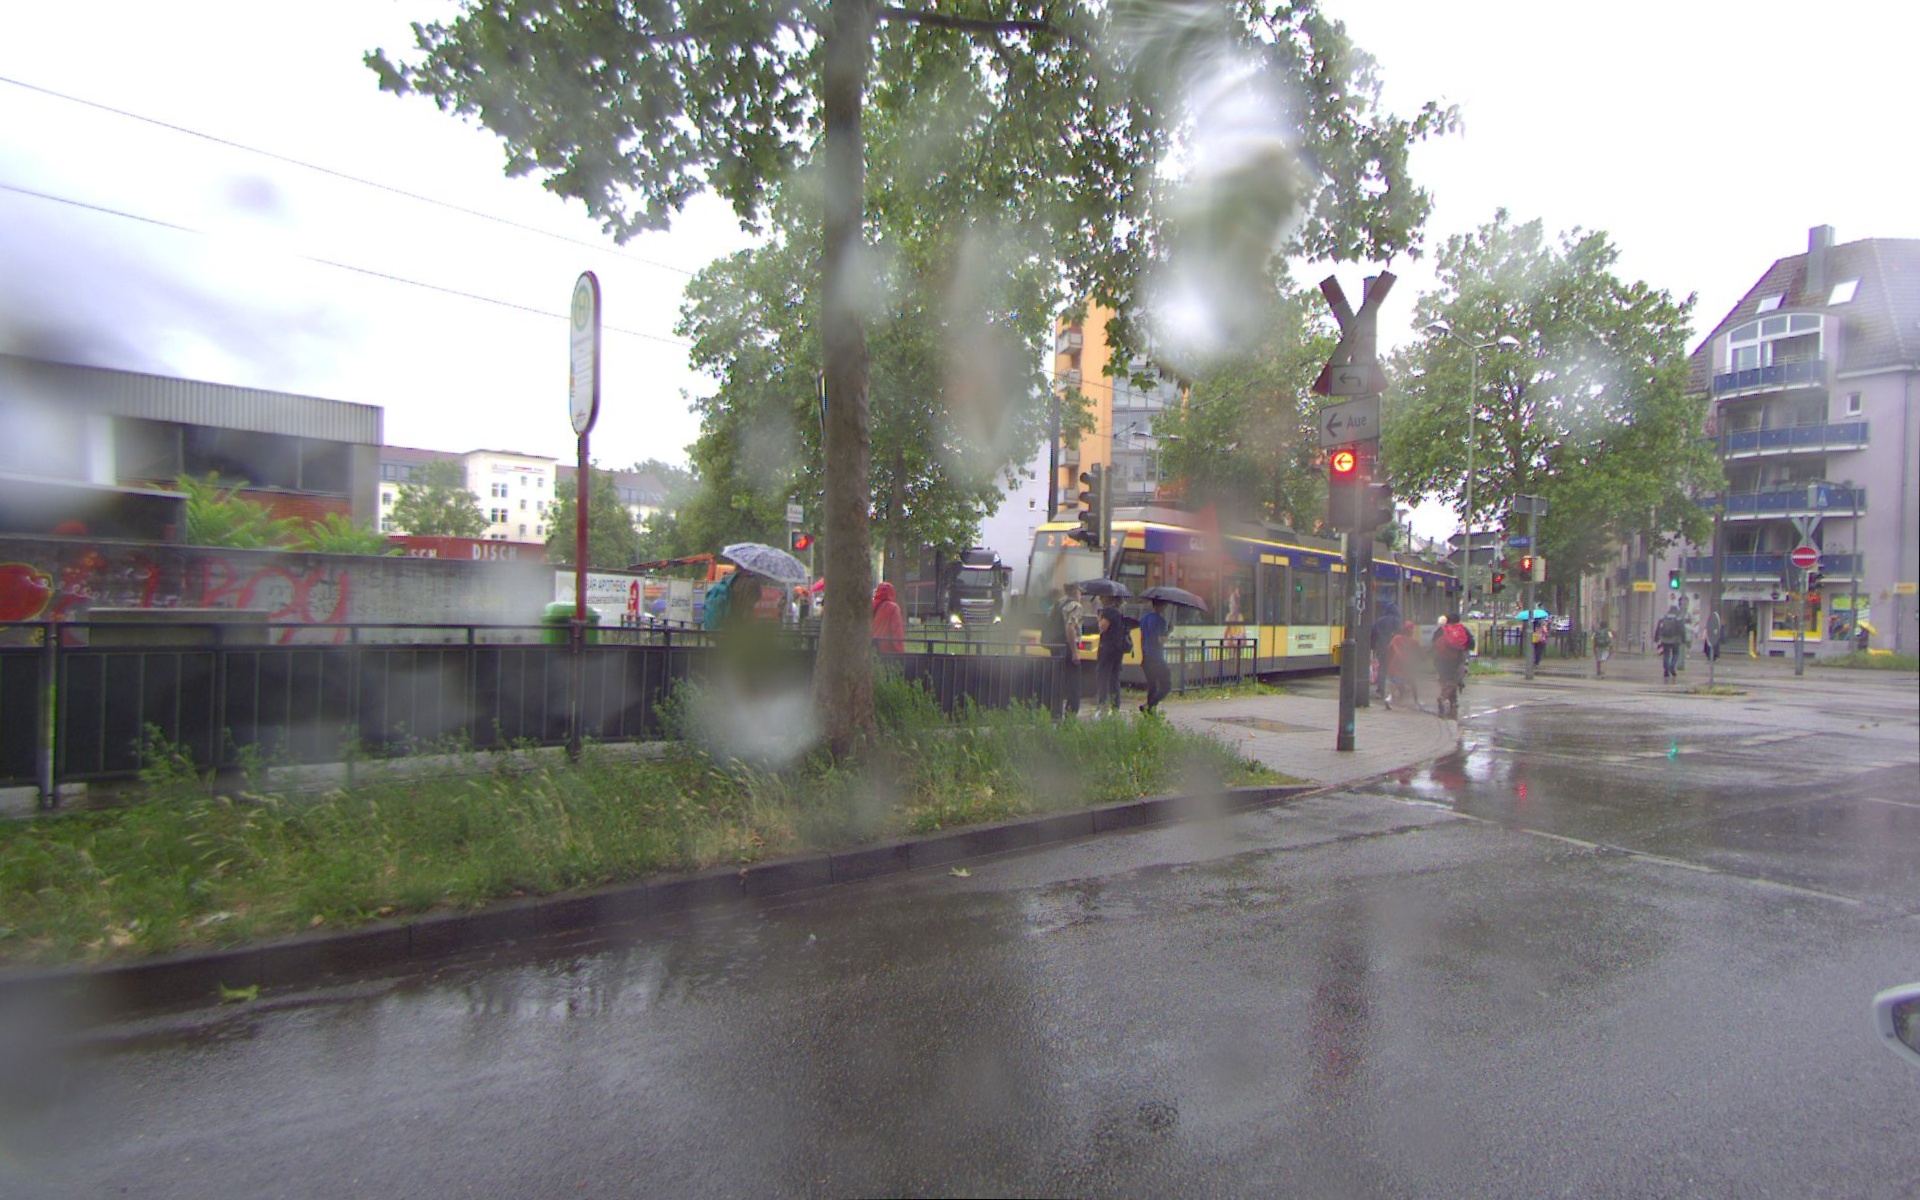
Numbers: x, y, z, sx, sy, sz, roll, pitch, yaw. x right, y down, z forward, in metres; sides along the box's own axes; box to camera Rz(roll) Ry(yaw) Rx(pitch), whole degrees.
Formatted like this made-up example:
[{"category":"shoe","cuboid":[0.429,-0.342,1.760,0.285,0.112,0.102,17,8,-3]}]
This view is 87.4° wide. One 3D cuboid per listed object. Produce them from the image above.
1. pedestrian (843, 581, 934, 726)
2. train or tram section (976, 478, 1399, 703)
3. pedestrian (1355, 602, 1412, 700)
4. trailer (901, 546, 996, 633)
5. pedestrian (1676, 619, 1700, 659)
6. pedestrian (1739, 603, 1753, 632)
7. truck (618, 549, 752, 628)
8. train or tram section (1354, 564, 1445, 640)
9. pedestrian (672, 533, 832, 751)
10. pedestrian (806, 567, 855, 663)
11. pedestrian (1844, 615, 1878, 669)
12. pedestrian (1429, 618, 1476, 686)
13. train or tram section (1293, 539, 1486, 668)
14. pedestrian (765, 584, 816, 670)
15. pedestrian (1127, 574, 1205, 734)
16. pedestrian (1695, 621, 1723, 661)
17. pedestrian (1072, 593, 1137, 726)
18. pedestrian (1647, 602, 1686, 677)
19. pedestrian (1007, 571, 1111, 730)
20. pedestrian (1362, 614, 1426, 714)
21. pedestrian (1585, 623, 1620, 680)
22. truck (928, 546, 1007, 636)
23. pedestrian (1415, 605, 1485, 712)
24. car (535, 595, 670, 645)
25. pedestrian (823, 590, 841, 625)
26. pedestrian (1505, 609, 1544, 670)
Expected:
[{"category":"pedestrian","cuboid":[-0.814,0.596,11.487,0.783,1.593,0.659,-2,0,24]},{"category":"train or tram section","cuboid":[6.236,-0.052,22.852,2.825,3.593,15.304,2,0,39]},{"category":"pedestrian","cuboid":[7.615,0.913,18.082,0.823,1.721,0.689,-2,0,17]},{"category":"trailer","cuboid":[-0.819,-0.472,50.745,2.593,3.899,10.114,2,0,-13]},{"category":"pedestrian","cuboid":[30.037,1.598,41.439,0.666,1.622,0.962,2,0,43]},{"category":"pedestrian","cuboid":[36.921,0.809,47.182,0.439,1.347,0.558,2,0,43]},{"category":"truck","cuboid":[-11.878,-0.464,43.608,5.383,3.205,2.164,2,0,-16]},{"category":"train or tram section","cuboid":[26.000,0.250,58.693,2.839,3.818,17.211,2,0,30]},{"category":"pedestrian","cuboid":[-1.920,0.363,9.246,1.068,1.851,0.974,-2,0,-41]},{"category":"pedestrian","cuboid":[-2.625,0.305,20.309,0.768,1.891,0.936,2,0,-18]},{"category":"pedestrian","cuboid":[37.294,1.718,41.587,0.897,2.179,0.883,2,0,37]},{"category":"pedestrian","cuboid":[10.219,1.061,20.839,0.704,1.367,0.650,1,1,-44]},{"category":"train or tram section","cuboid":[15.130,0.182,34.342,2.823,3.593,13.664,2,0,37]},{"category":"pedestrian","cuboid":[-3.522,0.549,20.871,0.675,1.752,0.752,2,1,42]},{"category":"pedestrian","cuboid":[2.576,0.641,12.508,0.854,1.889,0.892,1,0,16]},{"category":"pedestrian","cuboid":[29.742,1.605,39.874,0.738,1.553,0.790,2,0,28]},{"category":"pedestrian","cuboid":[1.919,0.777,13.316,0.782,1.705,0.660,-2,0,8]},{"category":"pedestrian","cuboid":[18.430,1.016,26.201,0.777,1.880,0.679,2,1,37]},{"category":"pedestrian","cuboid":[1.164,0.565,11.853,0.824,1.778,0.857,1,1,-41]},{"category":"pedestrian","cuboid":[6.932,0.996,16.052,0.652,1.540,0.677,1,0,-34]},{"category":"pedestrian","cuboid":[16.404,1.294,25.645,0.638,1.414,0.782,1,0,26]},{"category":"truck","cuboid":[0.274,-0.396,46.054,2.593,3.842,4.444,2,0,-13]},{"category":"pedestrian","cuboid":[7.832,0.912,16.069,0.809,1.646,0.724,0,0,-37]},{"category":"car","cuboid":[-10.426,0.573,29.400,3.447,1.323,1.405,2,0,10]},{"category":"pedestrian","cuboid":[-7.071,0.425,55.585,0.765,1.891,0.940,2,0,4]},{"category":"pedestrian","cuboid":[16.980,1.175,30.210,0.943,1.789,0.951,2,0,31]}]
